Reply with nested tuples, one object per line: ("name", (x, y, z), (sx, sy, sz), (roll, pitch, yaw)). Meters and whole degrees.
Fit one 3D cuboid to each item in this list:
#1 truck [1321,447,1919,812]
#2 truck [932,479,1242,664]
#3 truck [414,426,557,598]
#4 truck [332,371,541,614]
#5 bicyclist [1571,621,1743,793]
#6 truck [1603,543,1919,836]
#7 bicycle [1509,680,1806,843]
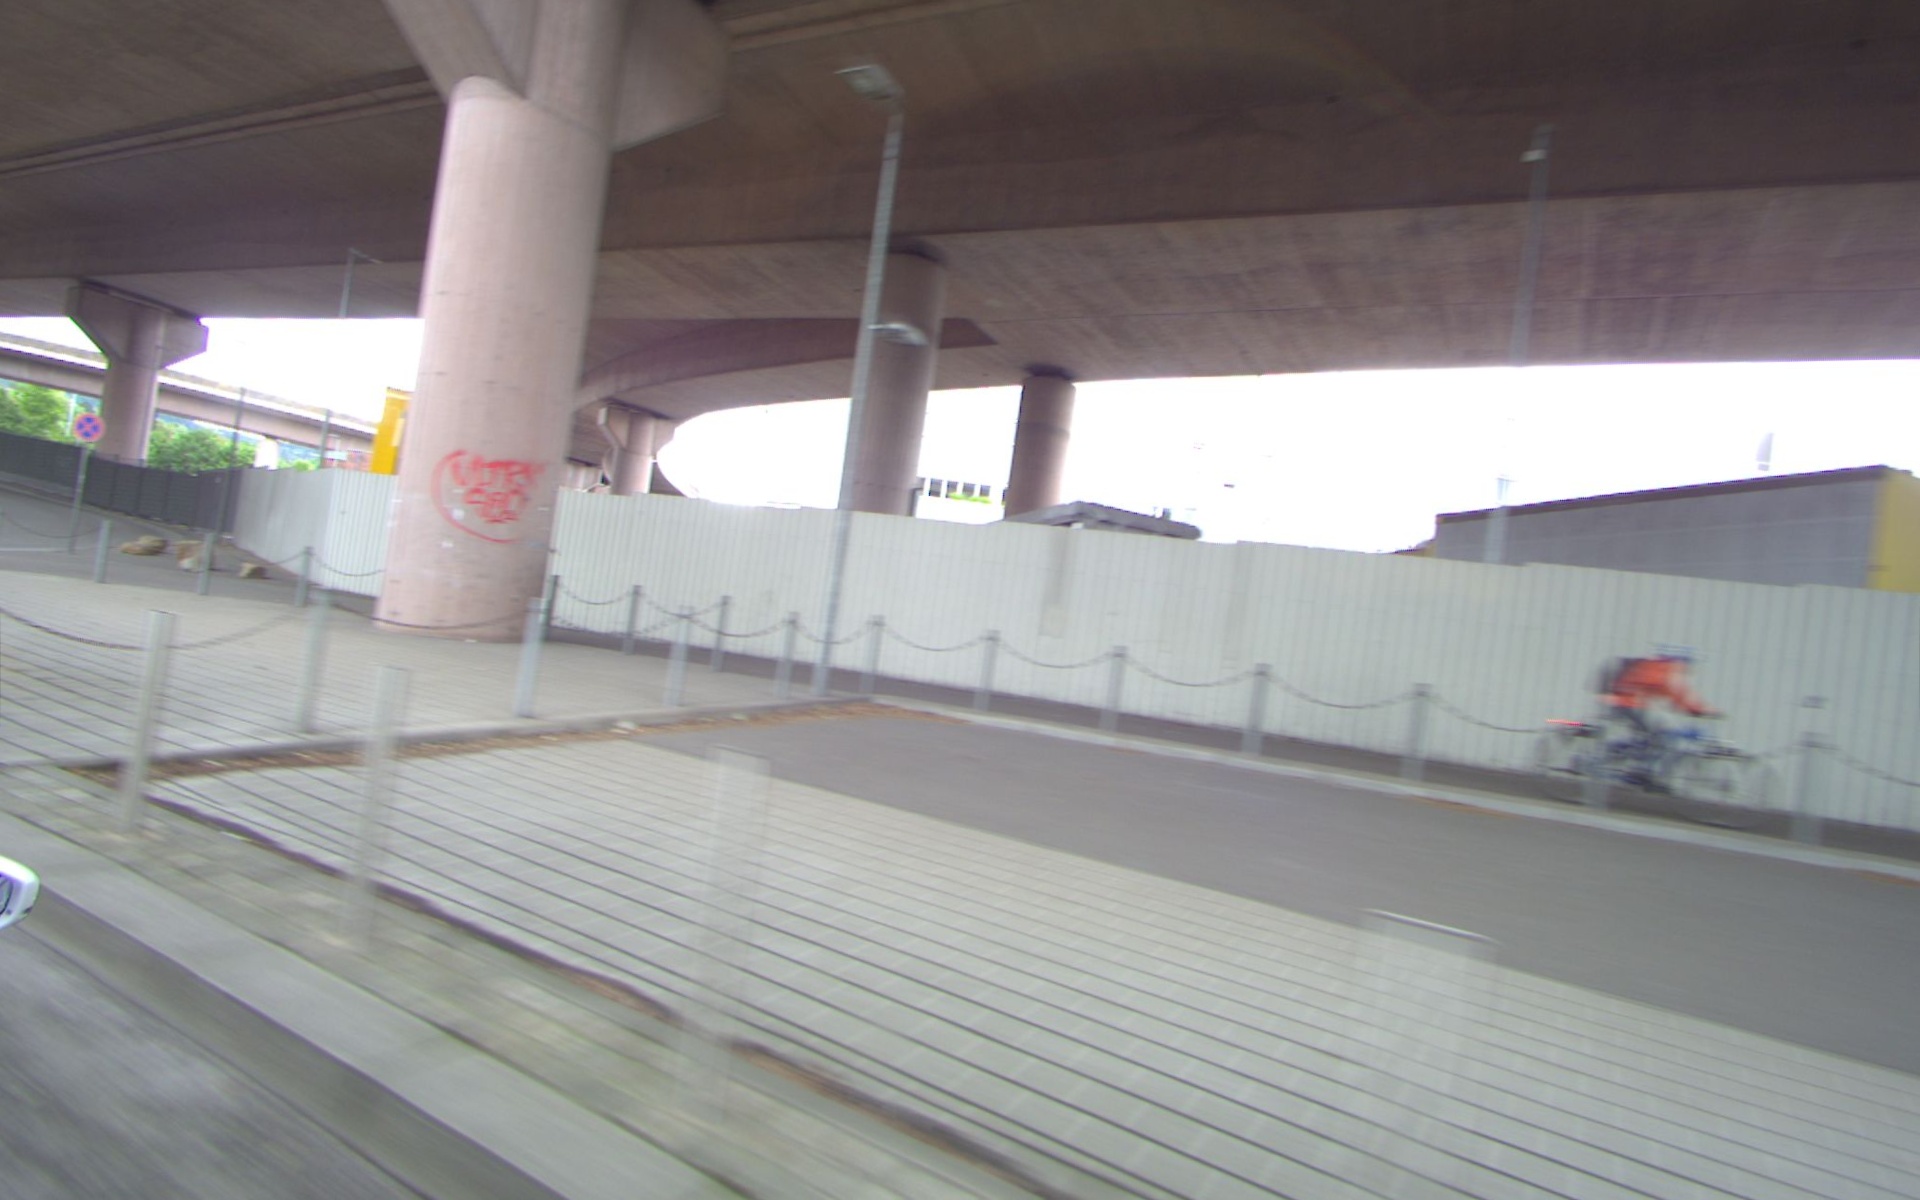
("truck", (11.130, 0.354, 17.598), (3.104, 4.497, 9.679), (7, 0, -20))
("truck", (2.215, -0.684, 22.044), (3.100, 2.982, 8.679), (5, 1, -18))
("truck", (-16.653, -2.831, 36.011), (3.104, 4.960, 8.683), (8, -1, -19))
("truck", (-13.494, -2.432, 26.861), (3.104, 4.974, 8.683), (8, -1, -19))
("bicyclist", (6.594, 0.987, 9.594), (1.047, 1.423, 0.798), (7, 1, 23))
("truck", (15.414, 1.470, 14.817), (2.857, 4.234, 10.022), (7, 0, -19))
("bicycle", (6.546, 1.482, 9.605), (2.092, 1.111, 0.804), (7, 1, 23))
